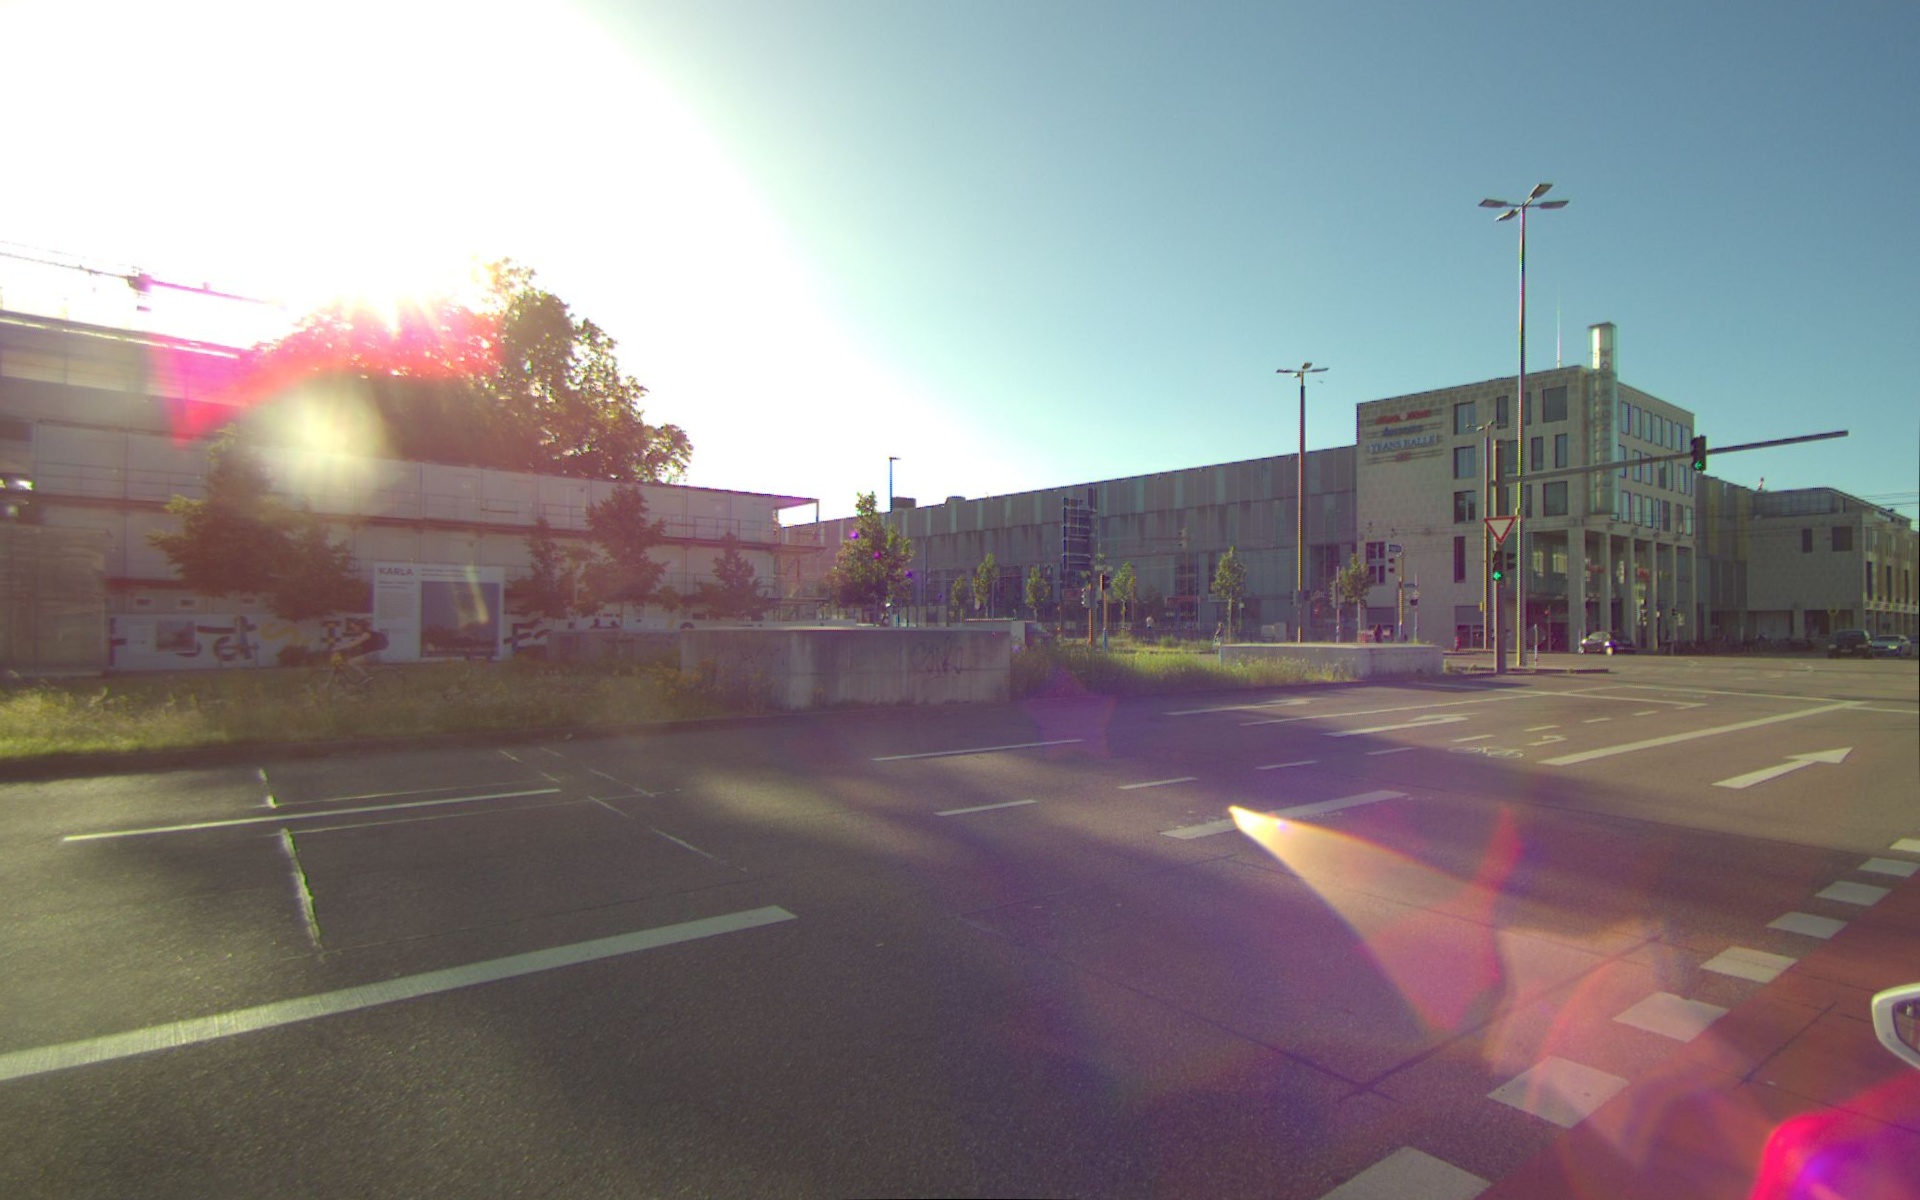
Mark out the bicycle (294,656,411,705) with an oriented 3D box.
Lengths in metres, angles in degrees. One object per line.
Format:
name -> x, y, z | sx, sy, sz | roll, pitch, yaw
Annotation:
bicycle -> -11.819, 1.551, 19.589 | 1.929, 0.873, 0.608 | 1, -1, -33

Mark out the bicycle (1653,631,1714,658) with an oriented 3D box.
bicycle -> 55.348, 3.391, 76.880 | 1.078, 2.040, 3.590 | 1, -2, -40

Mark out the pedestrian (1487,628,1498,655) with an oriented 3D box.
pedestrian -> 40.781, 3.189, 76.916 | 0.616, 2.040, 0.513 | -1, -2, 45

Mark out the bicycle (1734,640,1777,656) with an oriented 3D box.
bicycle -> 73.969, 4.458, 93.380 | 0.895, 1.419, 3.025 | 1, -2, -40

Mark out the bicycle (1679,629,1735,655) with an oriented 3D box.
bicycle -> 60.967, 3.416, 82.020 | 0.895, 2.040, 3.590 | 1, -2, -40

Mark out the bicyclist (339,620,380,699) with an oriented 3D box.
bicyclist -> -11.741, 1.146, 19.646 | 0.673, 1.508, 0.604 | 1, -1, -32

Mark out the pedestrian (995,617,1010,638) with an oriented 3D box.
pedestrian -> 3.026, 1.947, 71.098 | 0.719, 1.522, 0.792 | 1, -2, -45

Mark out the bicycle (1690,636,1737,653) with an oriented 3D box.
bicycle -> 62.999, 3.704, 83.967 | 0.895, 1.419, 3.025 | 1, -2, -40

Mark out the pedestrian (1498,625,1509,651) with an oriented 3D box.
pedestrian -> 41.866, 2.932, 77.331 | 0.616, 2.040, 0.513 | -1, -2, 45

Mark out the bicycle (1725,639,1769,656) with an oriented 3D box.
bicycle -> 71.627, 4.315, 91.492 | 0.895, 1.419, 3.025 | 1, -2, -40

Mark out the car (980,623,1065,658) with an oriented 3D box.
car -> 3.383, 2.249, 55.260 | 1.860, 1.834, 4.594 | 4, -4, -44

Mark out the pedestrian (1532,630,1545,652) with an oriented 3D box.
pedestrian -> 42.671, 2.993, 74.071 | 0.648, 1.629, 0.618 | 1, -1, -38

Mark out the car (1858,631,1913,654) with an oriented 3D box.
car -> 62.854, 2.839, 68.208 | 4.603, 1.374, 1.979 | -1, -1, -37

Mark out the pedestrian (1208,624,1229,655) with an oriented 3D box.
pedestrian -> 12.789, 1.947, 49.776 | 0.714, 1.522, 0.798 | -1, -2, 44

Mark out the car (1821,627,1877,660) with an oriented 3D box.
car -> 52.057, 2.517, 58.823 | 4.611, 1.765, 1.975 | -1, -1, -42

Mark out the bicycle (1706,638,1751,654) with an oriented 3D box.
bicycle -> 66.373, 3.966, 86.774 | 0.895, 1.419, 3.025 | 1, -2, -40

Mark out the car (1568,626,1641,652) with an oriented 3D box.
car -> 40.090, 2.411, 62.577 | 1.750, 1.584, 3.782 | 0, -1, -11

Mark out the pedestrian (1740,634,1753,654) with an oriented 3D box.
pedestrian -> 64.316, 3.610, 82.121 | 0.730, 1.629, 0.624 | -1, -1, 26

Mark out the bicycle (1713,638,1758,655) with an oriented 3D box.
bicycle -> 67.851, 4.049, 87.918 | 0.895, 1.419, 3.025 | 1, -2, -40

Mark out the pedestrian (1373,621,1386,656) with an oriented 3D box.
pedestrian -> 24.718, 2.272, 59.202 | 0.508, 2.040, 0.622 | -1, -1, 40

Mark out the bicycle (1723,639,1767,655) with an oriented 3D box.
bicycle -> 70.848, 4.257, 90.716 | 0.895, 1.419, 3.025 | 1, -2, -40

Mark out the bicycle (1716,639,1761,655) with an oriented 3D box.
bicycle -> 68.854, 4.127, 88.916 | 0.895, 1.419, 3.025 | 1, -2, -40

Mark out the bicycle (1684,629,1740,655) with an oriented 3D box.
bicycle -> 62.326, 3.469, 83.252 | 0.895, 2.040, 3.590 | 1, -2, -40

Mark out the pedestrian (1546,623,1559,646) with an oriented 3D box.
pedestrian -> 43.246, 2.516, 73.265 | 0.648, 1.629, 0.618 | 1, -1, -38

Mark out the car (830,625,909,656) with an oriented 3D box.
car -> -5.246, 2.337, 57.777 | 2.124, 1.631, 4.594 | 4, -4, -44

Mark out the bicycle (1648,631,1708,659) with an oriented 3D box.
bicycle -> 54.329, 3.375, 76.028 | 1.079, 2.040, 3.585 | 1, -2, -44

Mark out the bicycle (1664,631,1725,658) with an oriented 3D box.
bicycle -> 56.660, 3.415, 77.536 | 1.078, 2.040, 3.590 | 1, -2, -40
